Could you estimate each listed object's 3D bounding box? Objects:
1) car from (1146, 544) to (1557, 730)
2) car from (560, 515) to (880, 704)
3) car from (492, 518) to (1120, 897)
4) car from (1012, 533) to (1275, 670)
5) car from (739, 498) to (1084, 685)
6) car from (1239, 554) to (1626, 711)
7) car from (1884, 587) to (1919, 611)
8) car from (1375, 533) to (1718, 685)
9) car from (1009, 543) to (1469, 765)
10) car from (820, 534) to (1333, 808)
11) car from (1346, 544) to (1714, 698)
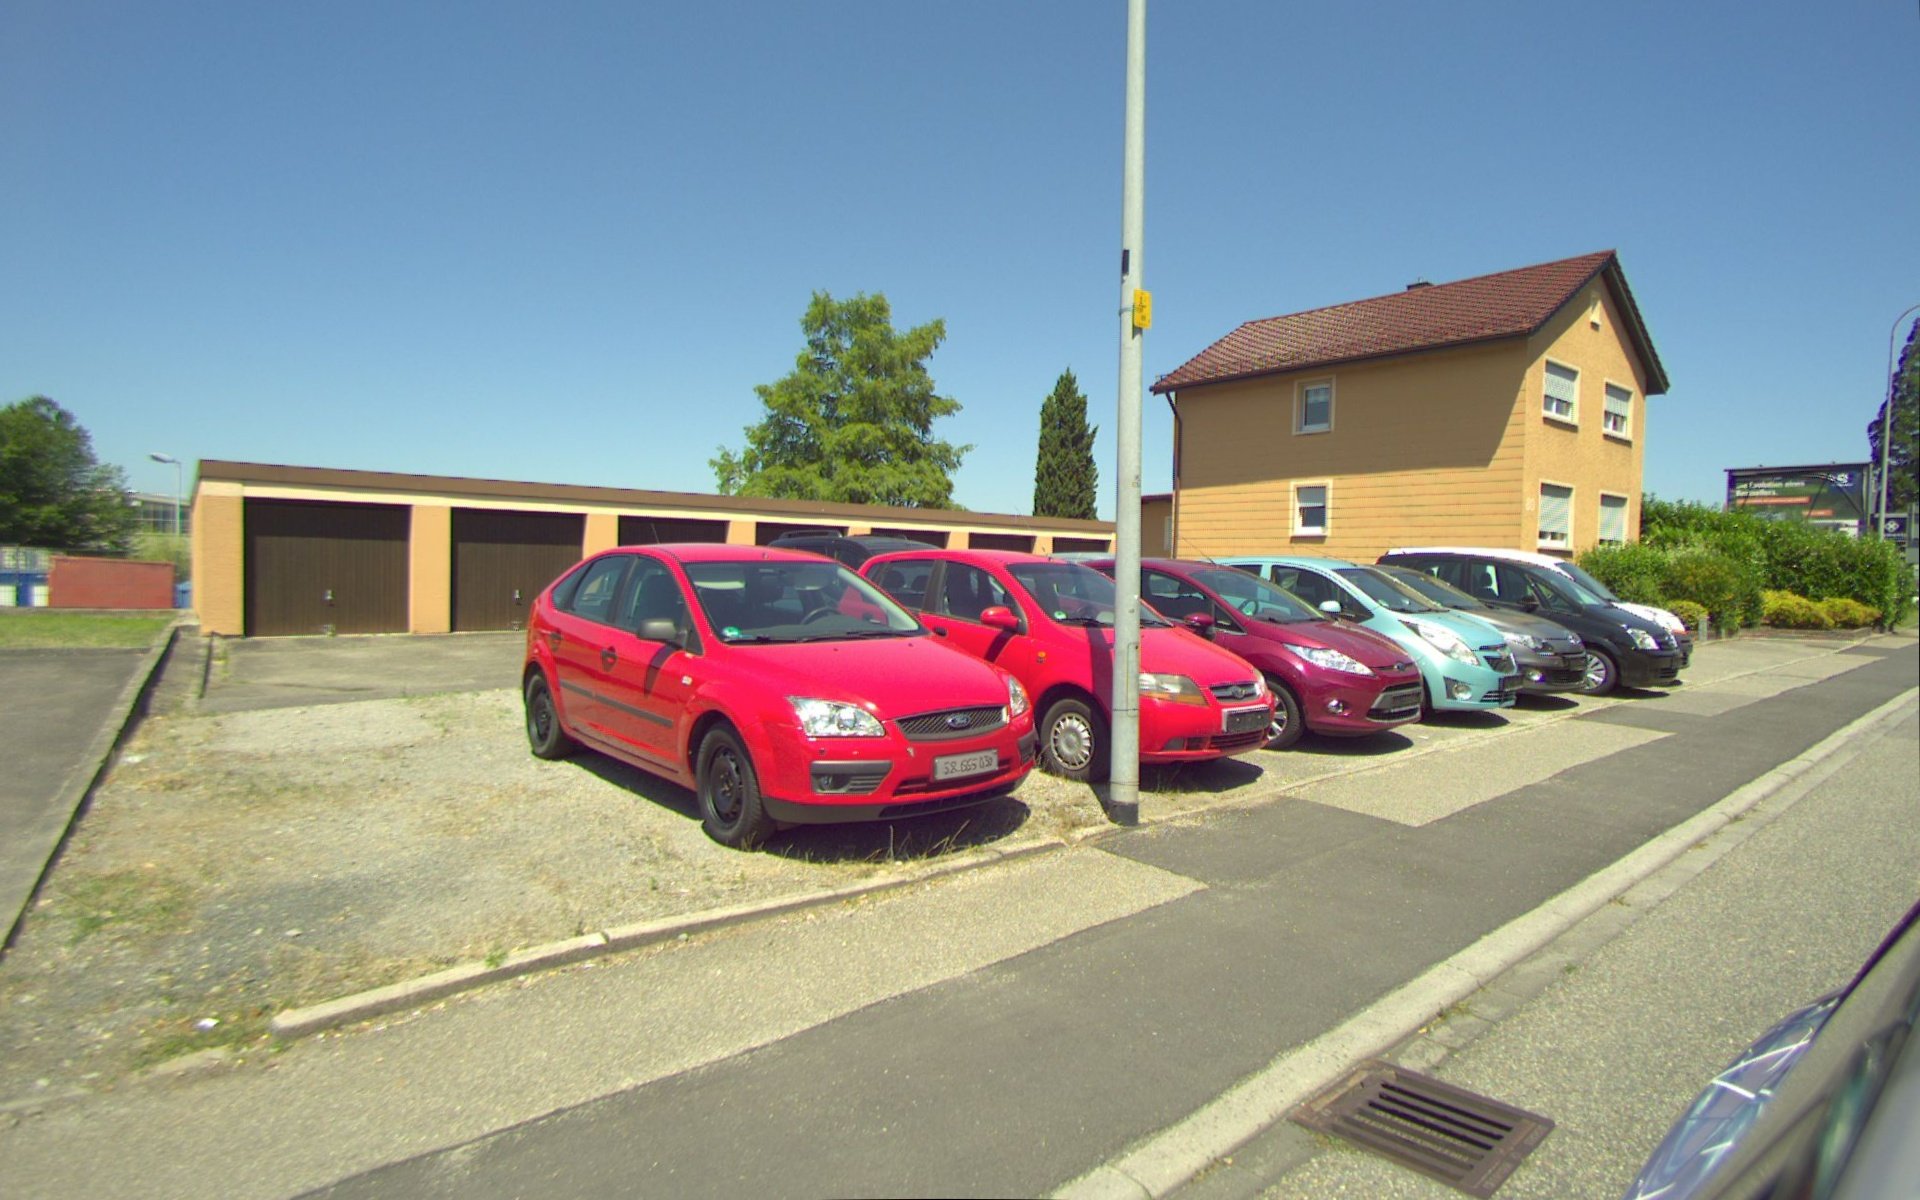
[{"bbox_3d":[3.977,0.244,10.711,1.614,1.586,3.690,0,3,-42],"label":"car"},{"bbox_3d":[-2.793,0.120,11.134,1.752,1.689,4.045,0,-1,-41],"label":"car"},{"bbox_3d":[-1.270,0.334,6.372,1.924,1.553,4.233,0,3,-41],"label":"car"},{"bbox_3d":[2.750,0.053,15.869,1.658,1.862,3.901,0,-1,-39],"label":"car"},{"bbox_3d":[-0.763,-0.050,12.620,1.939,1.920,4.343,0,-1,-43],"label":"car"},{"bbox_3d":[5.533,0.257,12.217,1.801,1.528,3.801,0,3,-40],"label":"car"},{"bbox_3d":[59.700,-0.049,62.522,1.598,1.400,3.636,-1,2,-40],"label":"car"},{"bbox_3d":[8.648,0.044,15.161,4.135,1.962,1.779,2,2,44],"label":"car"},{"bbox_3d":[2.398,0.314,9.301,1.721,1.586,3.688,0,3,-44],"label":"car"},{"bbox_3d":[0.702,0.325,7.797,1.680,1.586,3.689,0,3,-44],"label":"car"},{"bbox_3d":[7.416,0.158,13.434,1.734,1.701,3.880,0,3,-43],"label":"car"}]
